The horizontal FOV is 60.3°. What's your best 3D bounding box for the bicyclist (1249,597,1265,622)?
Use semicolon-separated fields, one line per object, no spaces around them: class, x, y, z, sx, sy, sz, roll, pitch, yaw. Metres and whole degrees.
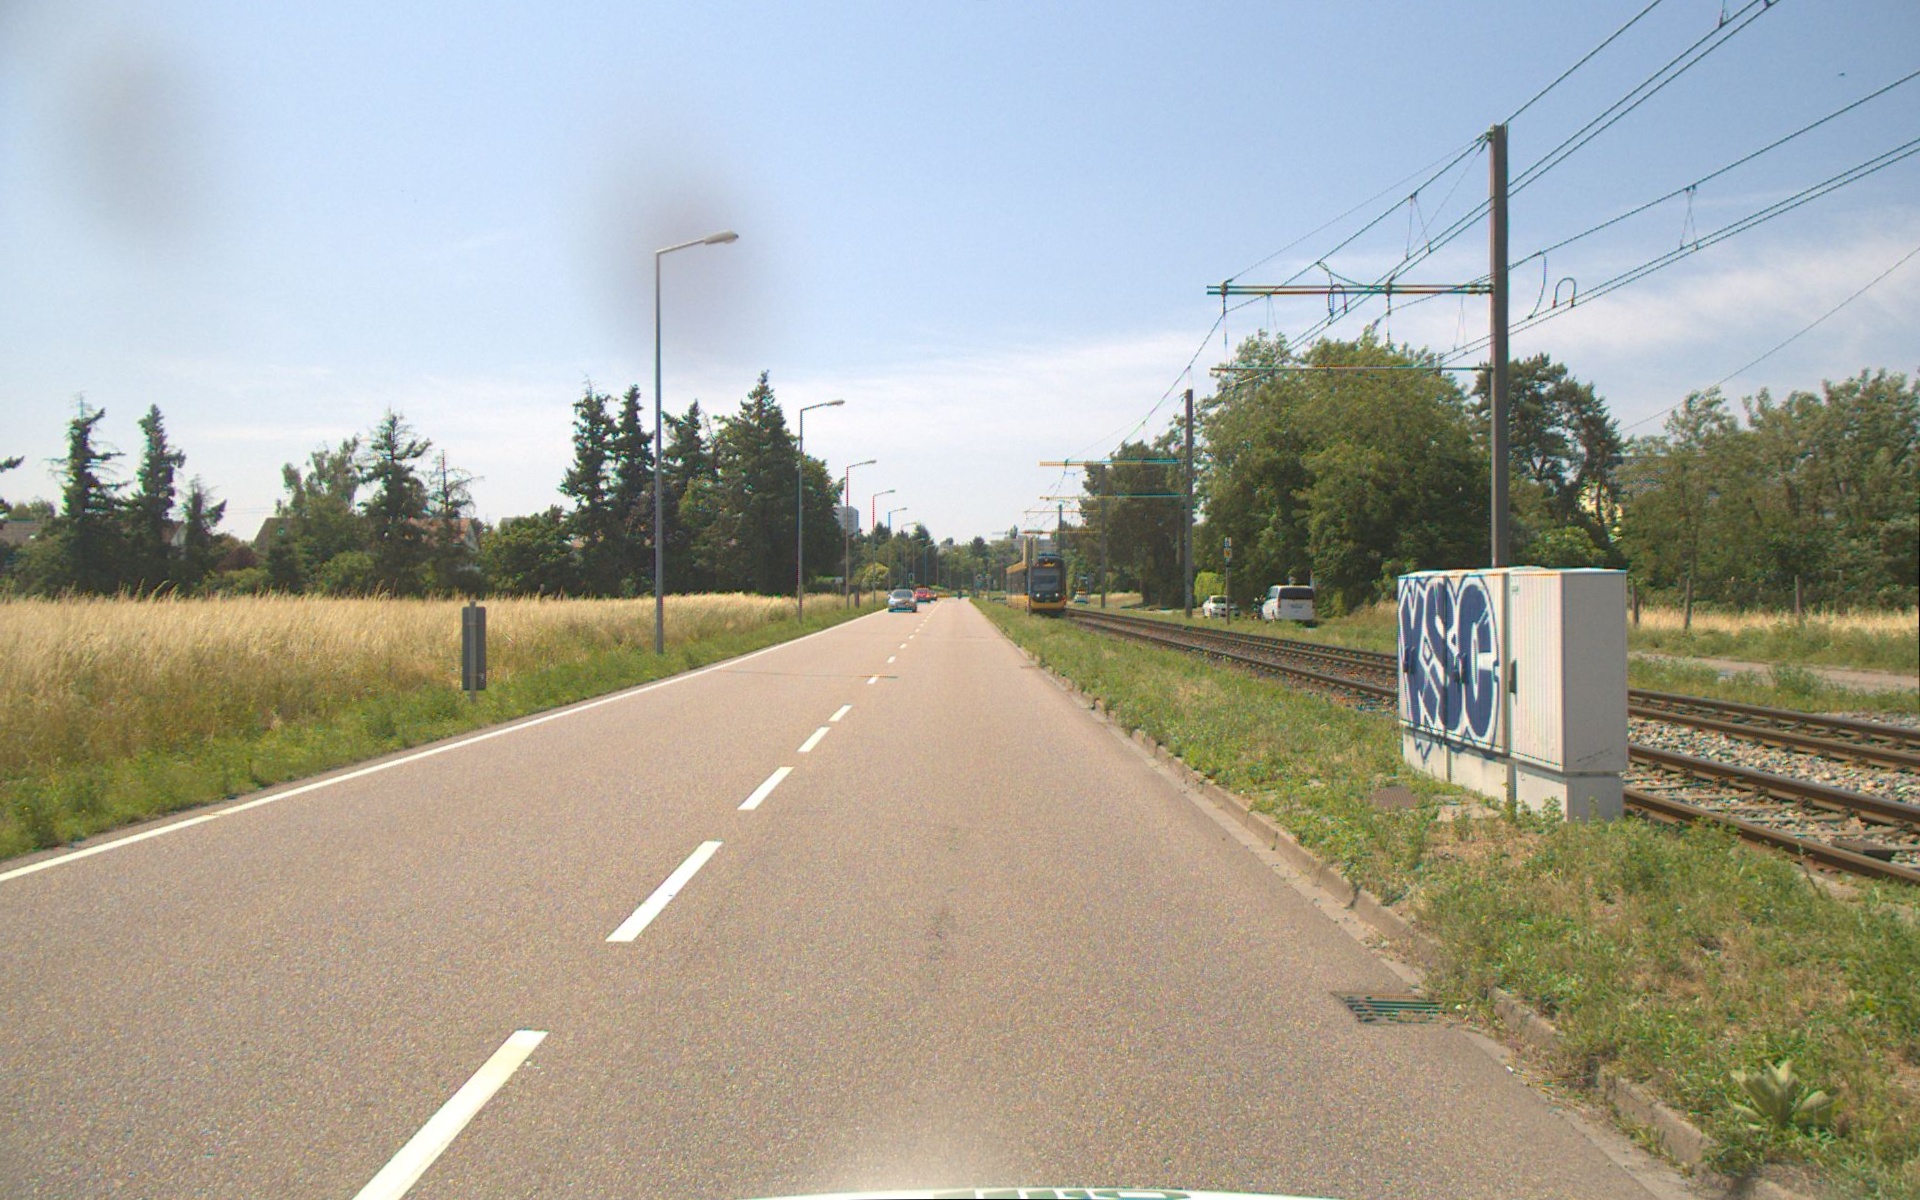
bicyclist;16.128;0.527;89.776;0.687;1.361;0.903;-1;-1;0

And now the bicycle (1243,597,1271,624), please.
bicycle;16.133;0.576;89.909;0.909;1.455;3.385;-1;-1;0

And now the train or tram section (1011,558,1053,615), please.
train or tram section;4.885;-0.856;112.947;2.508;3.779;6.728;-1;-1;-1

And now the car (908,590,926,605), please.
car;-4.204;-0.241;162.322;1.612;1.424;3.844;0;-1;-1

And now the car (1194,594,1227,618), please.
car;14.899;0.369;98.403;1.399;1.331;3.465;-1;-1;0

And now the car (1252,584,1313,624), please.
car;15.371;0.216;79.051;1.953;1.834;4.793;-1;-1;0

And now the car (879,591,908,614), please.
car;-4.414;0.173;110.267;1.797;1.493;4.677;0;-1;0

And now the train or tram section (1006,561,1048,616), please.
train or tram section;4.827;-0.812;119.712;2.646;3.832;6.728;-1;-1;-1

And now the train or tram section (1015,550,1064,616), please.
train or tram section;4.913;-0.951;103.785;2.379;3.832;11.557;-1;-1;-1
